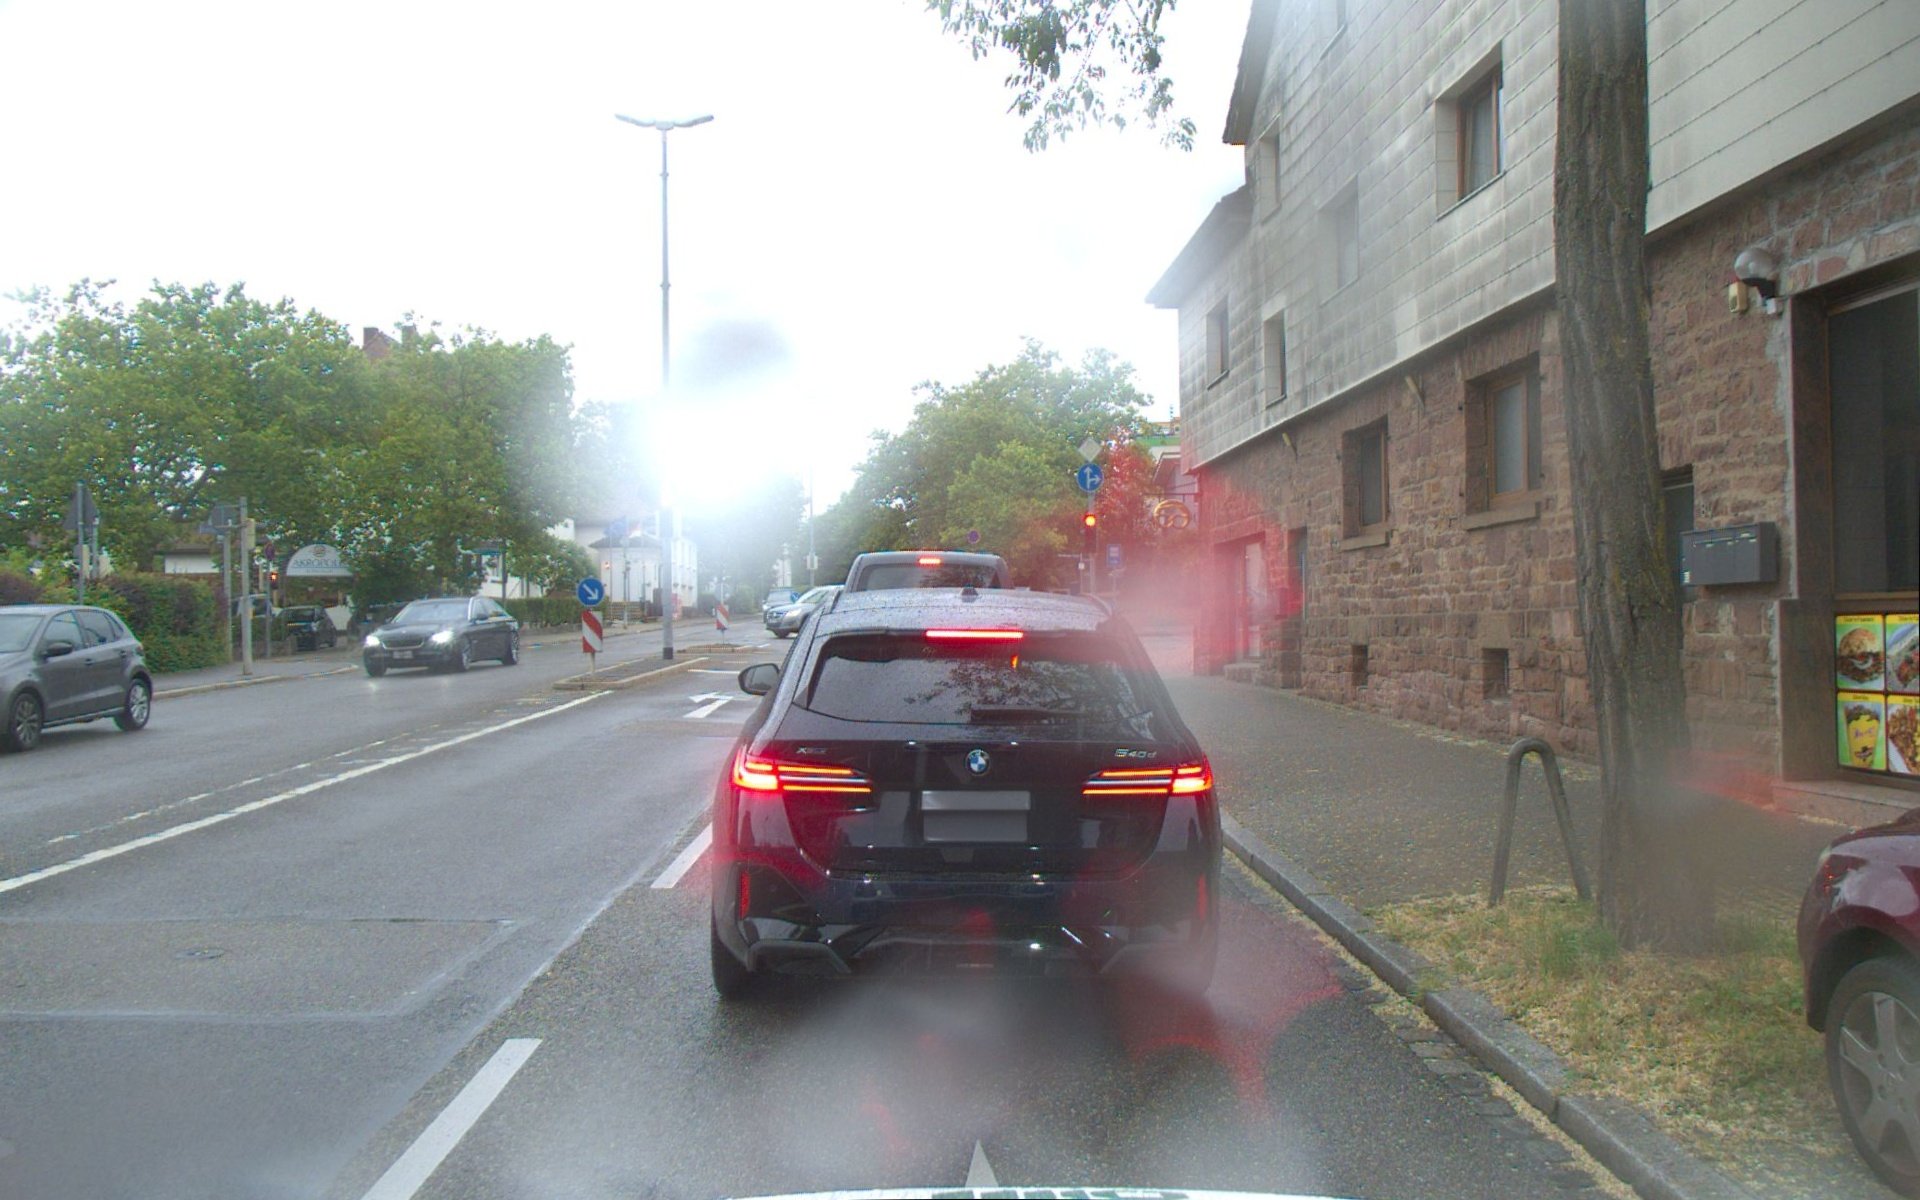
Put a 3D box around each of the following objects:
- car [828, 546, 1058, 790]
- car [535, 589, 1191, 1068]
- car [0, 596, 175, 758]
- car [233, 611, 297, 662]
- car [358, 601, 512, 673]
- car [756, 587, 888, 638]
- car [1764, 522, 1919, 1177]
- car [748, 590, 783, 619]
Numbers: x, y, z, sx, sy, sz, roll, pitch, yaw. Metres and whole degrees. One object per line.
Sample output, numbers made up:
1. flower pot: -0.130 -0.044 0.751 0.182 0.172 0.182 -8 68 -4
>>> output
1. car: -0.224 0.494 14.584 1.748 1.849 3.998 0 0 -3
2. car: -0.414 0.709 7.392 2.023 1.472 4.480 1 0 -3
3. car: -10.174 0.740 17.367 1.952 1.536 3.955 0 0 0
4. car: -23.765 1.216 56.647 1.966 1.579 3.973 0 0 -22
5. car: -10.354 0.697 32.913 1.805 1.311 4.000 0 0 0
6. car: -4.468 0.383 53.633 3.956 1.579 1.801 0 0 -36
7. car: 3.040 0.555 2.612 1.552 1.516 3.625 -3 1 -3
8. car: -9.842 0.224 84.039 1.435 1.422 3.321 0 0 -1
